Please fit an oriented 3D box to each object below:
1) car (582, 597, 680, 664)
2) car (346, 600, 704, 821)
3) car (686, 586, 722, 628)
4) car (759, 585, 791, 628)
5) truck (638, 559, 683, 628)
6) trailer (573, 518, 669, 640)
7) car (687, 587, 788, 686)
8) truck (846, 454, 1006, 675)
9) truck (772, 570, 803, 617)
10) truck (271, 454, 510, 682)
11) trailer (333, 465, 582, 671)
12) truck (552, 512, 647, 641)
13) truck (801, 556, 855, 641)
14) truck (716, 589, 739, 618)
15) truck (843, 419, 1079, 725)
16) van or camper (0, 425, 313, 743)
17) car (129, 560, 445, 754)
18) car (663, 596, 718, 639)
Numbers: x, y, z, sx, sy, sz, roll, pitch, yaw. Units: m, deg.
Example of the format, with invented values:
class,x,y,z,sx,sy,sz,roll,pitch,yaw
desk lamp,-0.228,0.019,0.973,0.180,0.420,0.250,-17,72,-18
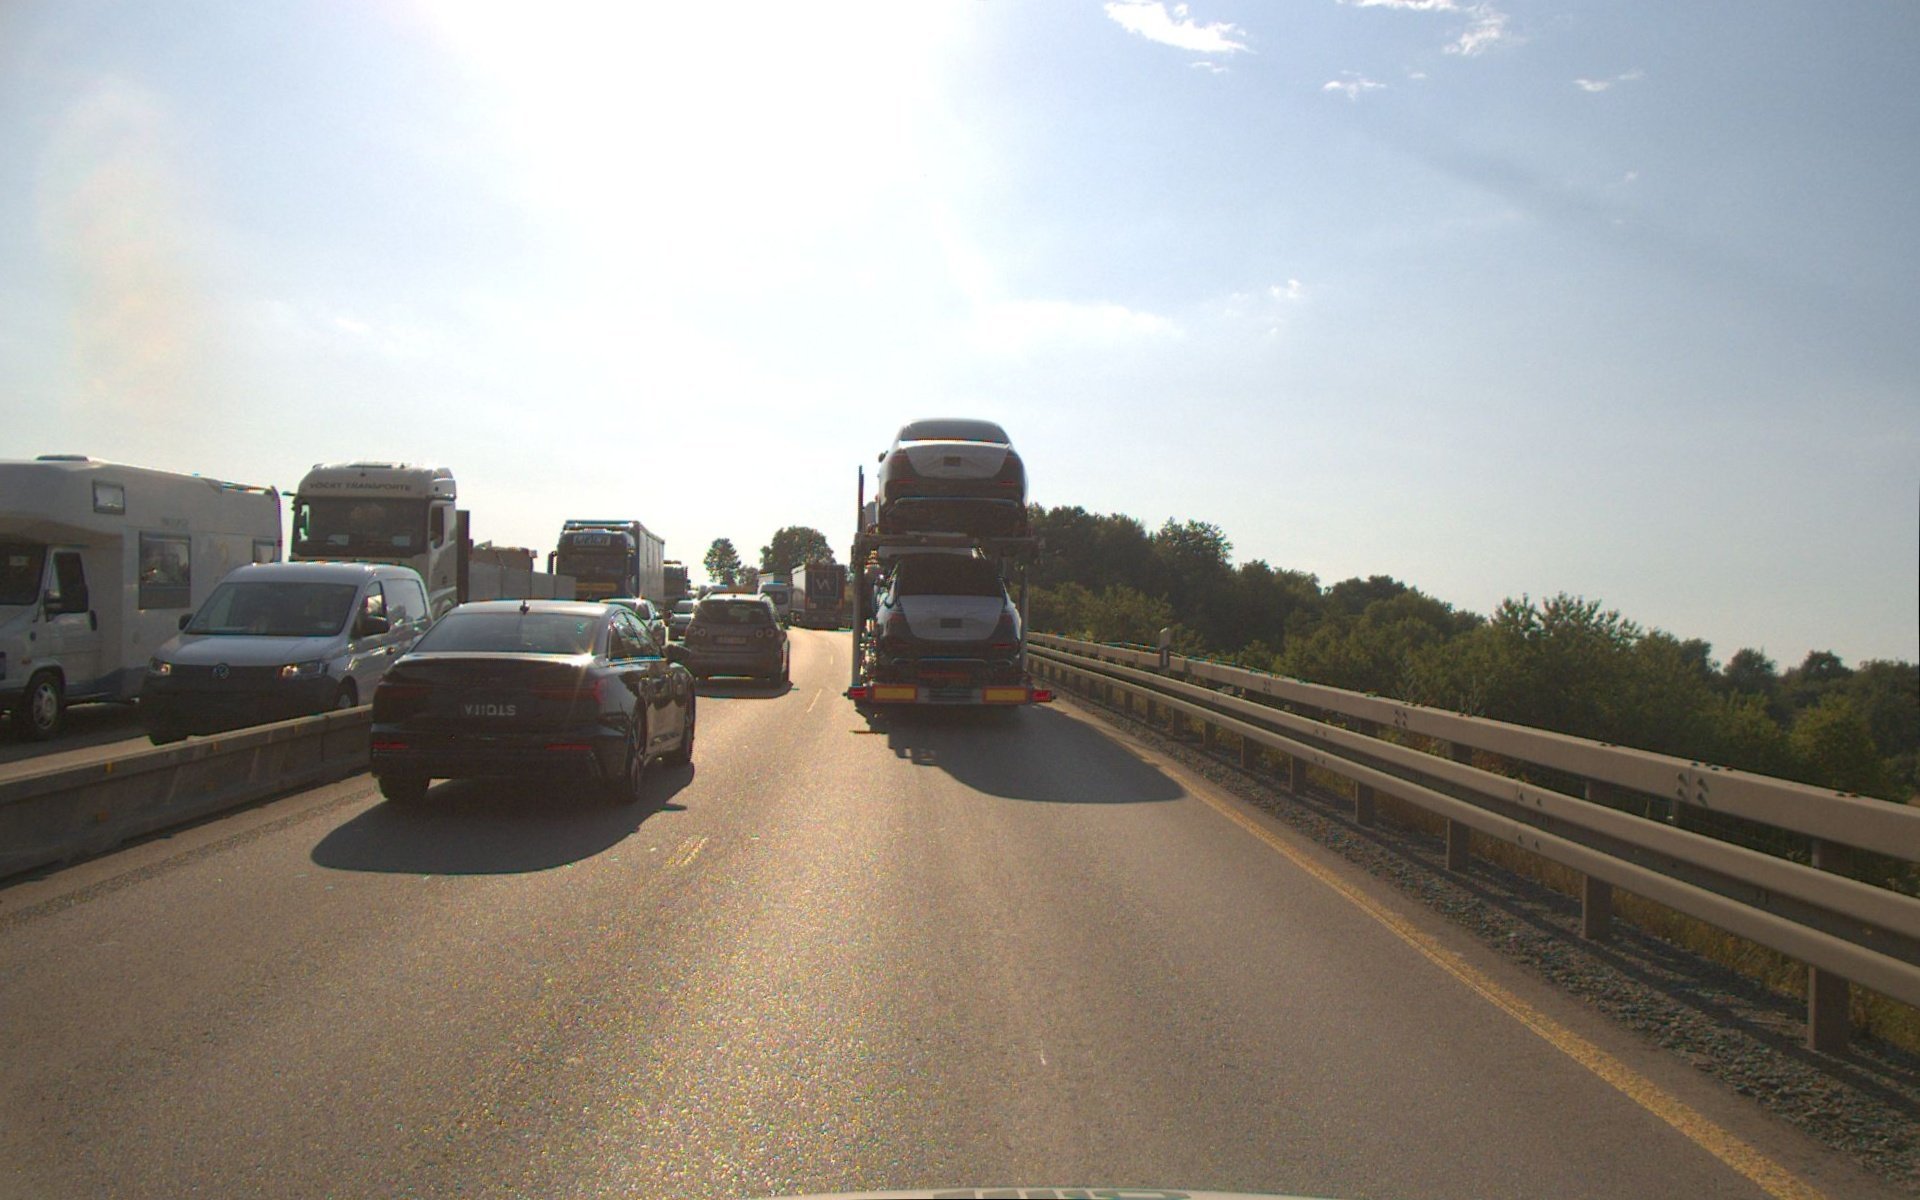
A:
class,x,y,z,sx,sy,sz,roll,pitch,yaw
car,-7.997,0.722,40.550,1.758,1.538,4.582,1,0,-4
car,-3.235,0.732,13.355,1.896,1.423,4.956,1,0,-4
car,-15.927,0.459,103.196,2.018,2.544,6.763,1,0,-8
car,-11.304,0.377,101.128,1.884,2.536,5.401,1,0,-6
truck,-18.478,-0.359,102.389,2.456,4.137,5.873,1,-1,-8
trailer,-12.950,-0.679,64.220,2.263,4.203,14.580,1,0,-6
car,-3.908,0.620,29.487,1.659,1.624,3.994,1,0,-6
truck,-0.867,-0.592,34.075,2.781,3.858,9.979,1,0,-3
truck,-14.468,-0.498,138.523,2.482,3.712,8.893,1,0,-6
truck,-10.506,-0.511,31.207,2.549,3.820,6.512,1,0,-3
trailer,-10.928,-0.546,37.724,2.470,3.790,13.964,1,0,-5
truck,-12.195,-0.735,56.341,2.455,4.137,5.658,1,-1,-5
truck,-8.789,-0.058,109.375,3.223,5.328,9.921,1,0,-6
truck,-26.327,0.411,187.455,2.541,3.226,6.665,1,0,-7
truck,-0.295,-0.286,24.713,2.743,3.558,10.597,1,0,-3
van or camper,-9.972,-0.136,19.025,2.360,2.942,7.613,1,0,-3
car,-6.689,0.527,16.974,1.722,1.725,4.449,1,0,-5
car,-10.146,0.653,62.552,1.725,1.534,4.250,1,0,-5
